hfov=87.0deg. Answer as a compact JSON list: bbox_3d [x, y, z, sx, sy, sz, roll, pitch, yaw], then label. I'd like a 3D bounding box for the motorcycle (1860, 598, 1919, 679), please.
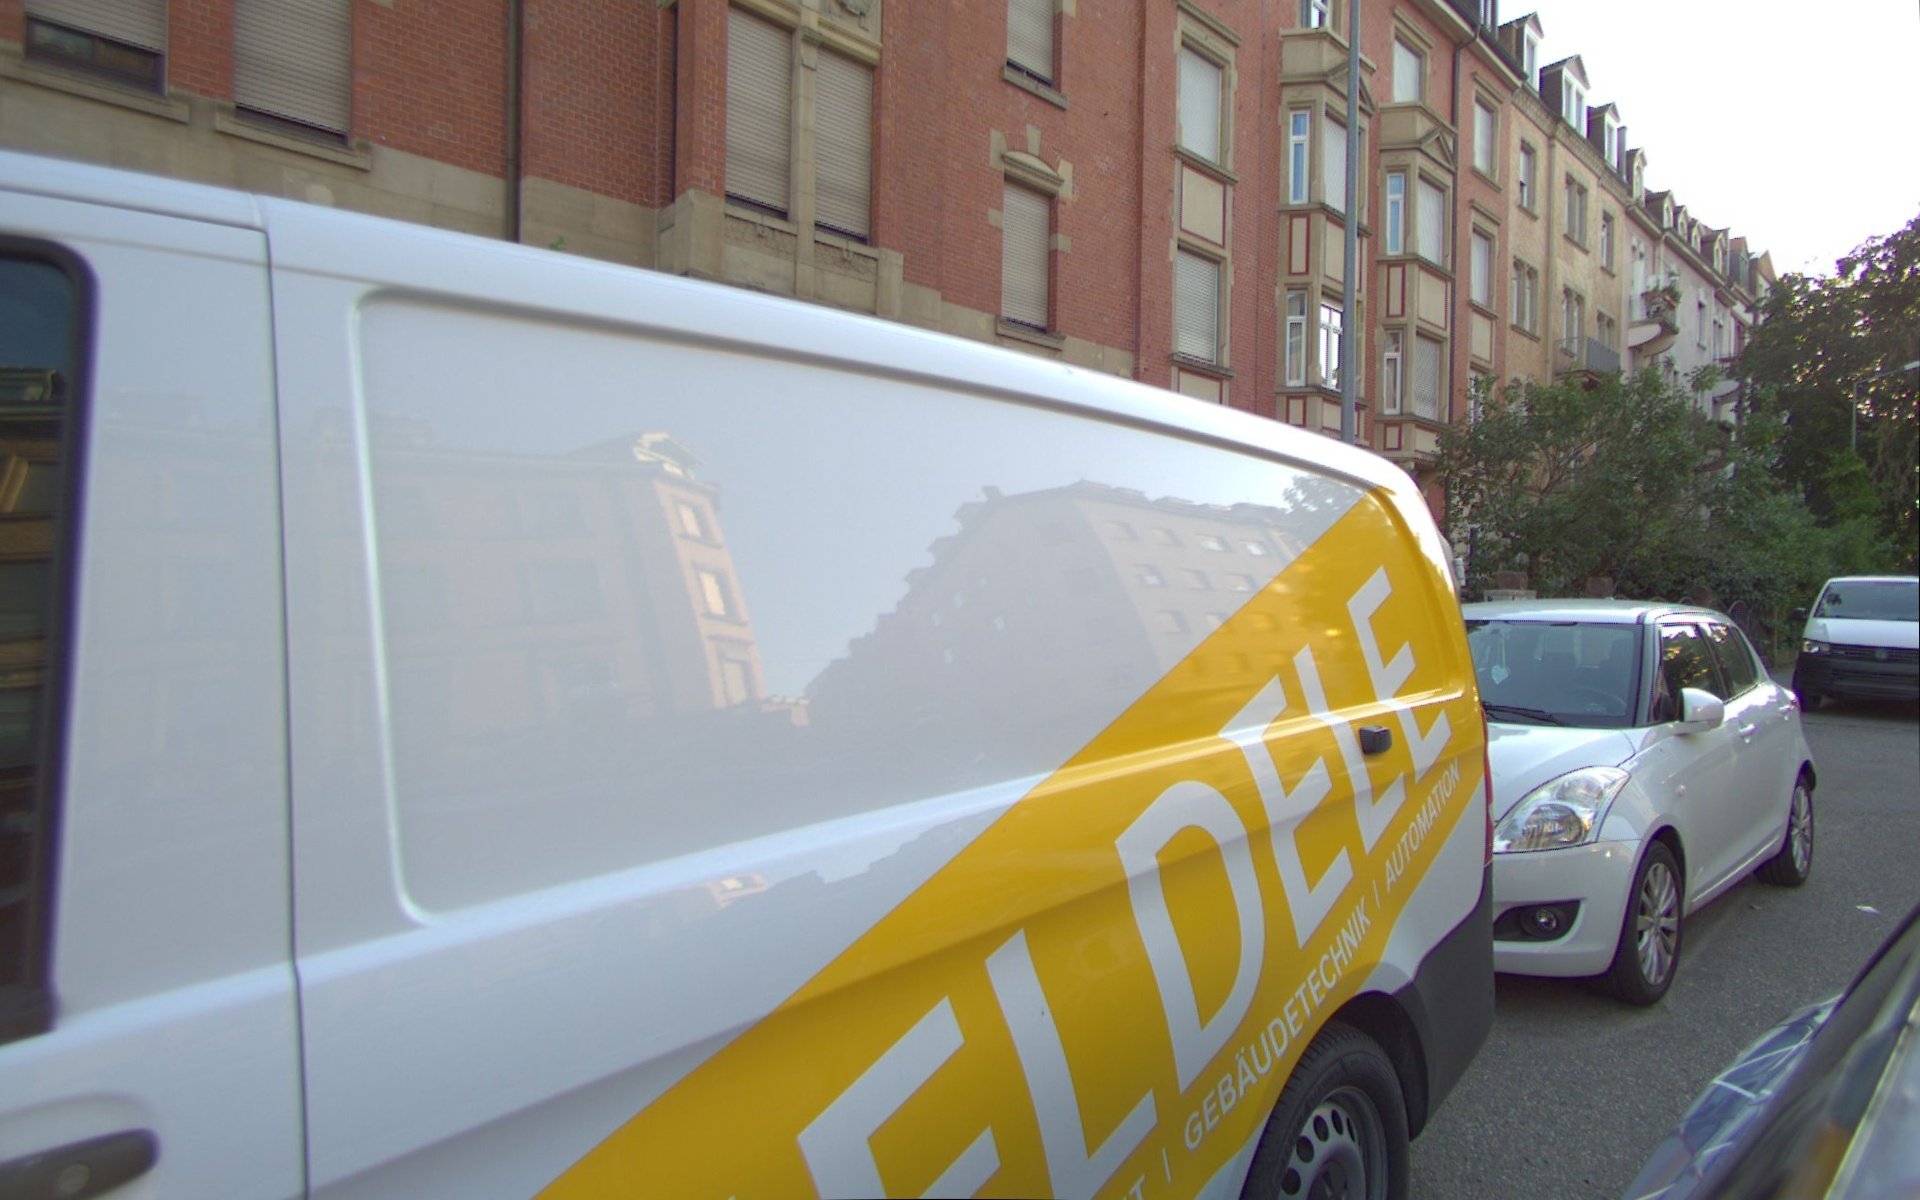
[{"bbox_3d":[19.182,0.777,19.748,2.065,1.500,1.128,3,2,16],"label":"motorcycle"}]

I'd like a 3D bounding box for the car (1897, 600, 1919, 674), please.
[{"bbox_3d":[22.244,0.792,22.366,4.248,1.571,1.723,0,0,-40],"label":"car"}]

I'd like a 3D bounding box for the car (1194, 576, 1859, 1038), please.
[{"bbox_3d":[3.053,0.664,5.133,3.792,1.496,1.678,0,0,-39],"label":"car"}]

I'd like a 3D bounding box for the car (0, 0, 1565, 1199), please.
[{"bbox_3d":[-0.976,0.452,1.540,4.995,1.908,1.896,0,0,-42],"label":"car"}]

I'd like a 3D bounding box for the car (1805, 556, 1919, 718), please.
[{"bbox_3d":[14.233,0.483,15.019,5.451,2.064,1.864,0,2,-43],"label":"car"}]
